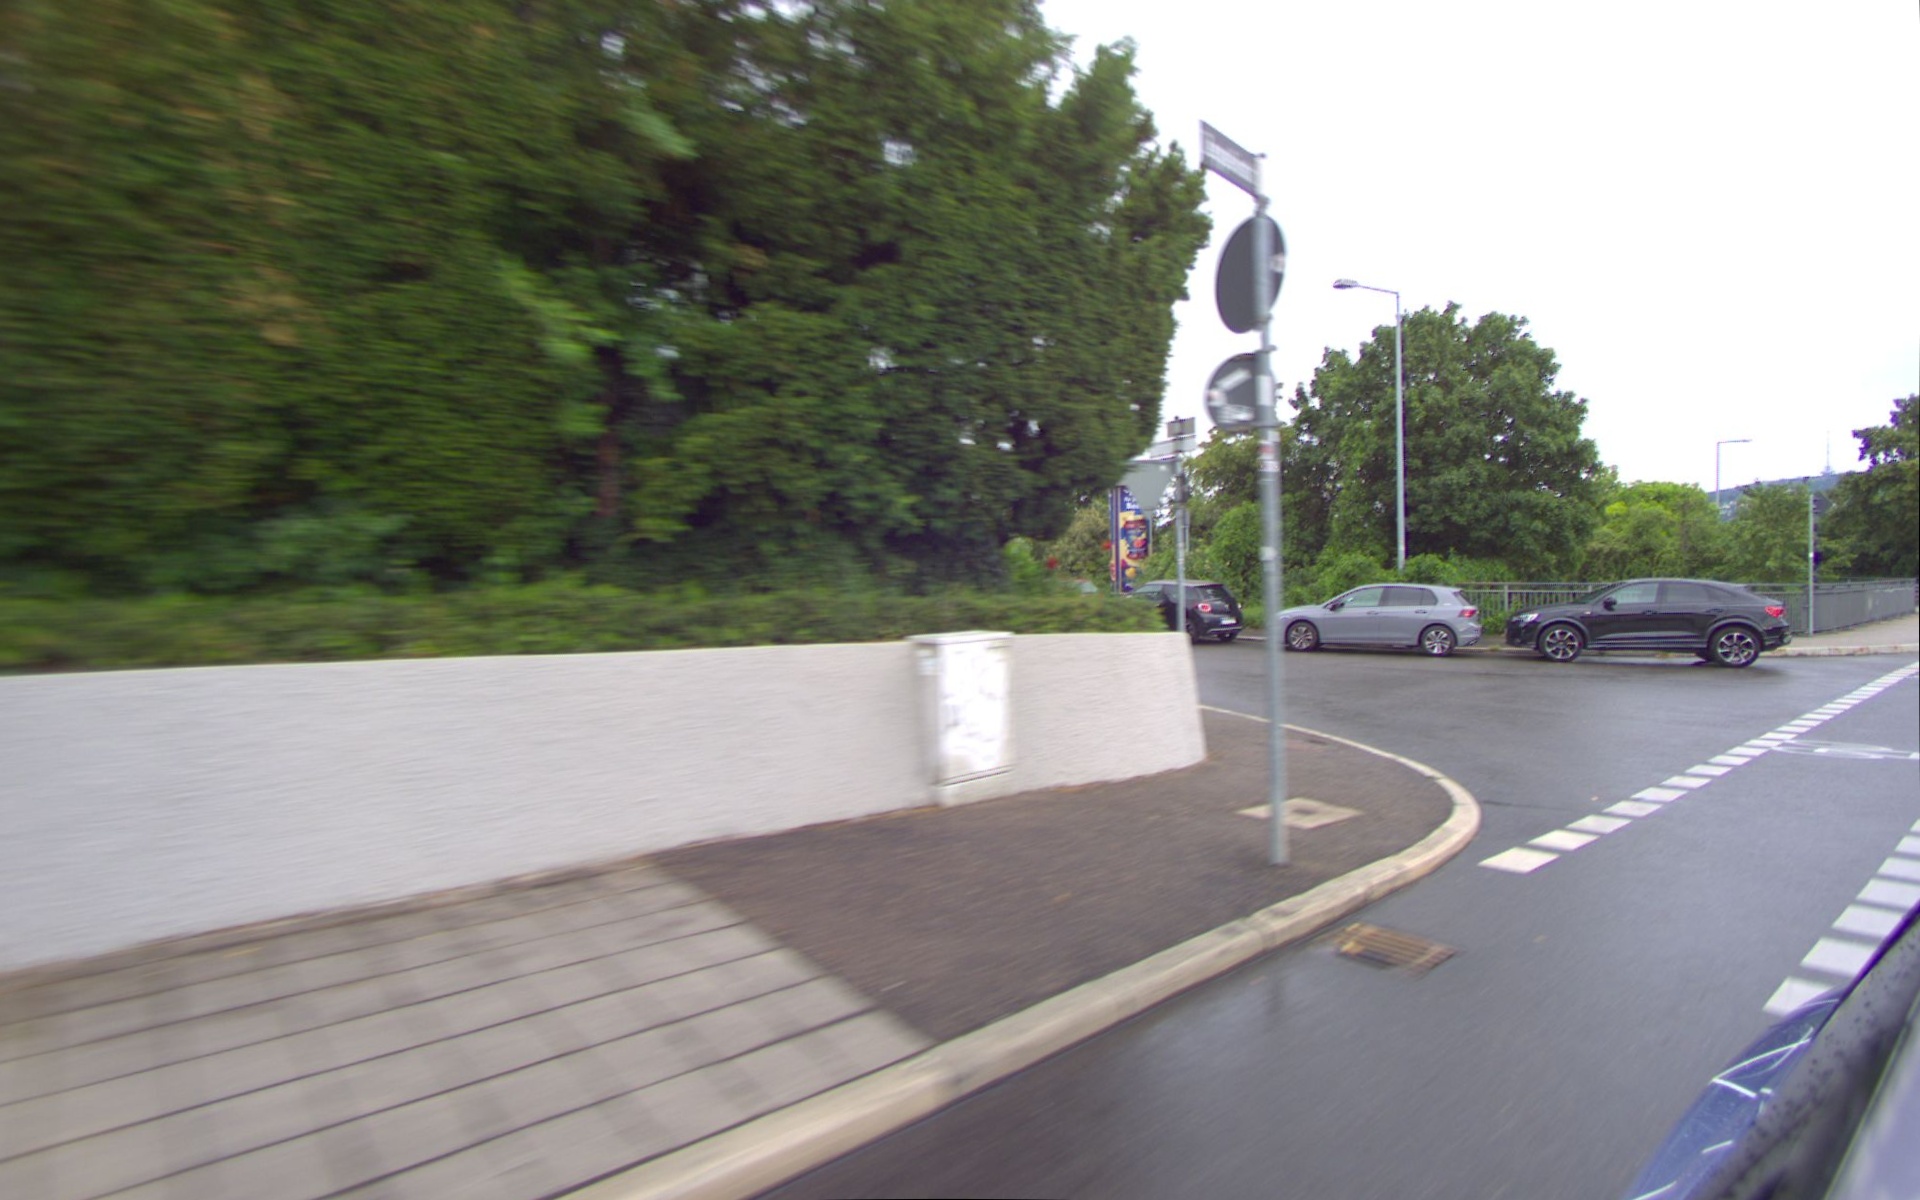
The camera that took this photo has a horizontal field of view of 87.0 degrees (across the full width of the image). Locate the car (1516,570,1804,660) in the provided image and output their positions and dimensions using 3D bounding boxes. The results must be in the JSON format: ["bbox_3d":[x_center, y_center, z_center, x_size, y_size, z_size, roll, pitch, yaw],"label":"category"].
[{"bbox_3d":[12.925,0.242,19.061,4.158,1.542,1.983,0,1,26],"label":"car"}]

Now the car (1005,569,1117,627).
[{"bbox_3d":[2.863,-0.111,29.389,1.727,1.507,3.610,-2,2,-23],"label":"car"}]

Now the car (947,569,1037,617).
[{"bbox_3d":[1.027,-0.282,34.555,1.727,1.507,3.610,-2,2,-23],"label":"car"}]

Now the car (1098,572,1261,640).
[{"bbox_3d":[5.281,0.089,24.669,1.807,1.507,3.601,-1,2,-37],"label":"car"}]

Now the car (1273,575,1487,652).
[{"bbox_3d":[8.799,0.243,21.254,4.019,1.443,1.784,0,2,29],"label":"car"}]
